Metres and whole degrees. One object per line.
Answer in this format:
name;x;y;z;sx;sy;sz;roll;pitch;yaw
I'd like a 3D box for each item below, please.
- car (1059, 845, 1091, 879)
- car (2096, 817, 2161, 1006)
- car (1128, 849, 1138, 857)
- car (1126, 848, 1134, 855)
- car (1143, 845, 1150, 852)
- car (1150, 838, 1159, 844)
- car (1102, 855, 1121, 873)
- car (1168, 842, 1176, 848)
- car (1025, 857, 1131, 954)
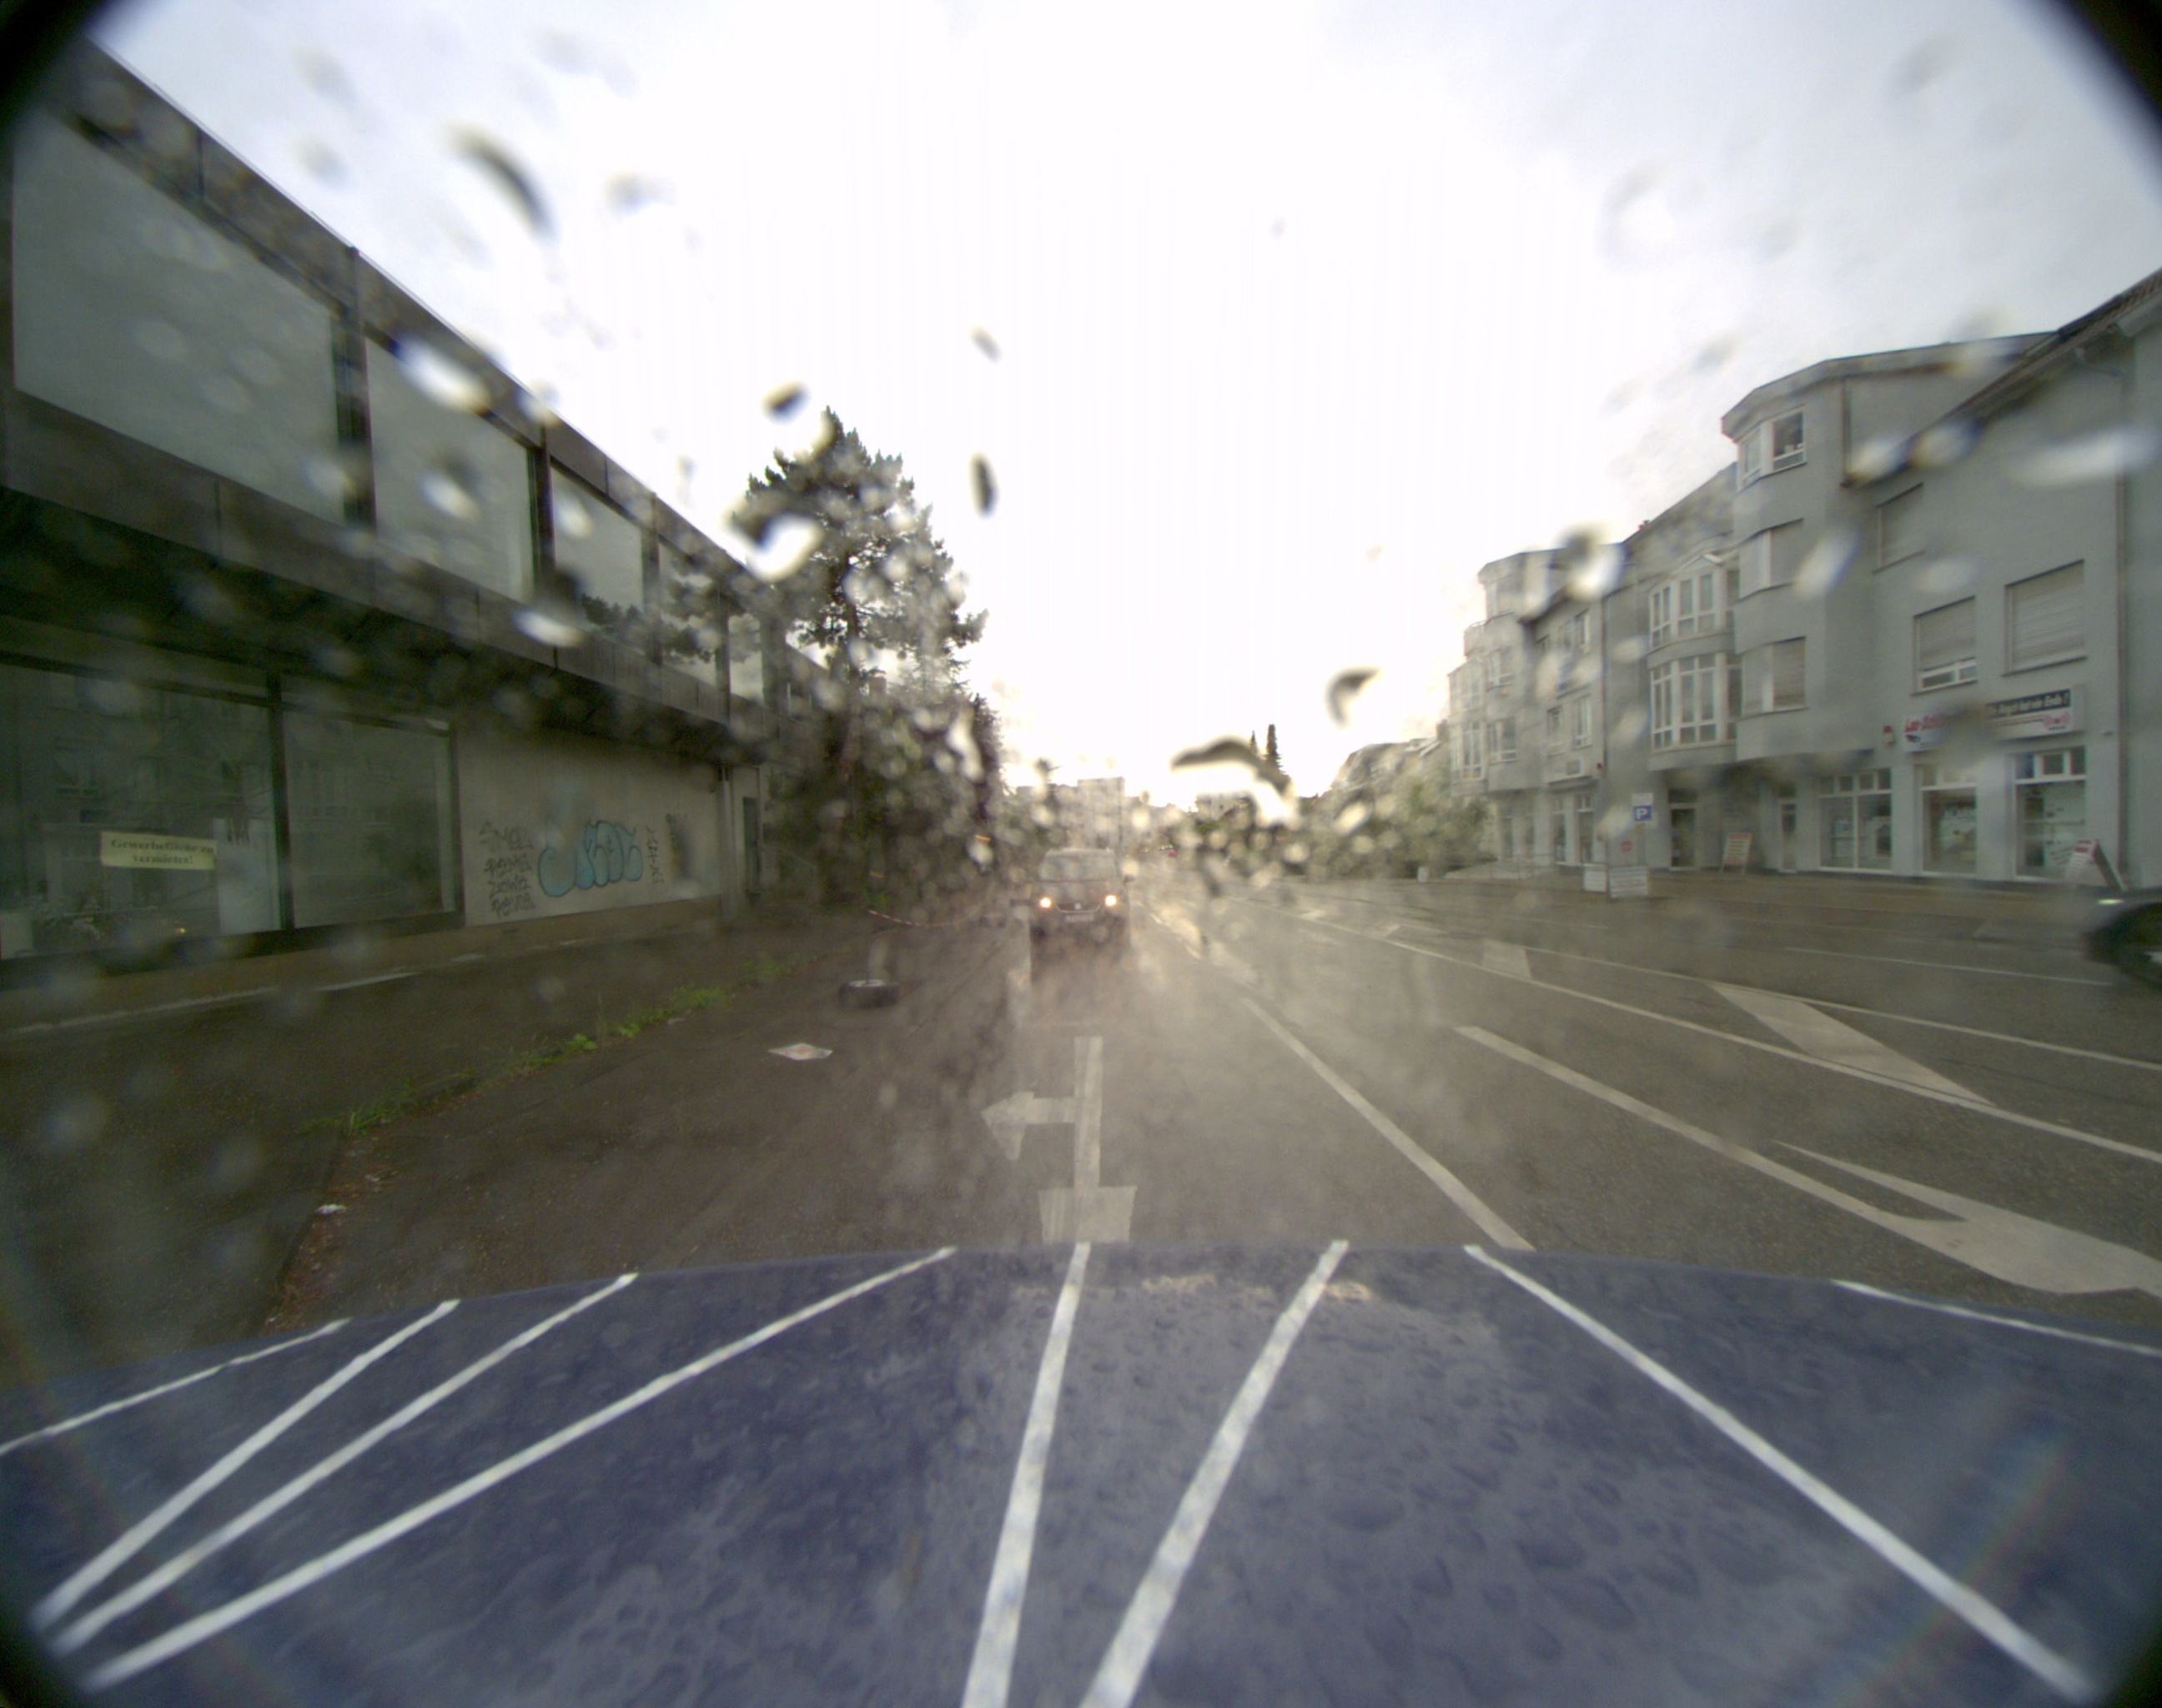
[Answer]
car;-0.346;0.478;50.410;1.998;2.072;3.999;-2;1;1
car;10.361;0.480;4.709;1.999;1.615;4.537;-2;1;-3
car;11.514;-0.280;169.051;1.998;1.723;3.999;-2;1;1
car;12.439;-0.577;192.348;1.998;1.774;4.001;-2;1;4
car;18.802;-1.565;218.171;1.997;1.808;4.002;-2;1;8
car;23.446;-4.069;242.184;1.996;1.808;4.003;-2;1;14
car;3.164;1.038;79.452;1.803;1.675;3.999;-2;1;1
car;29.407;-2.812;246.595;1.996;1.808;4.004;-2;1;14
car;-0.015;0.873;15.095;1.754;1.534;4.676;-1;1;1
